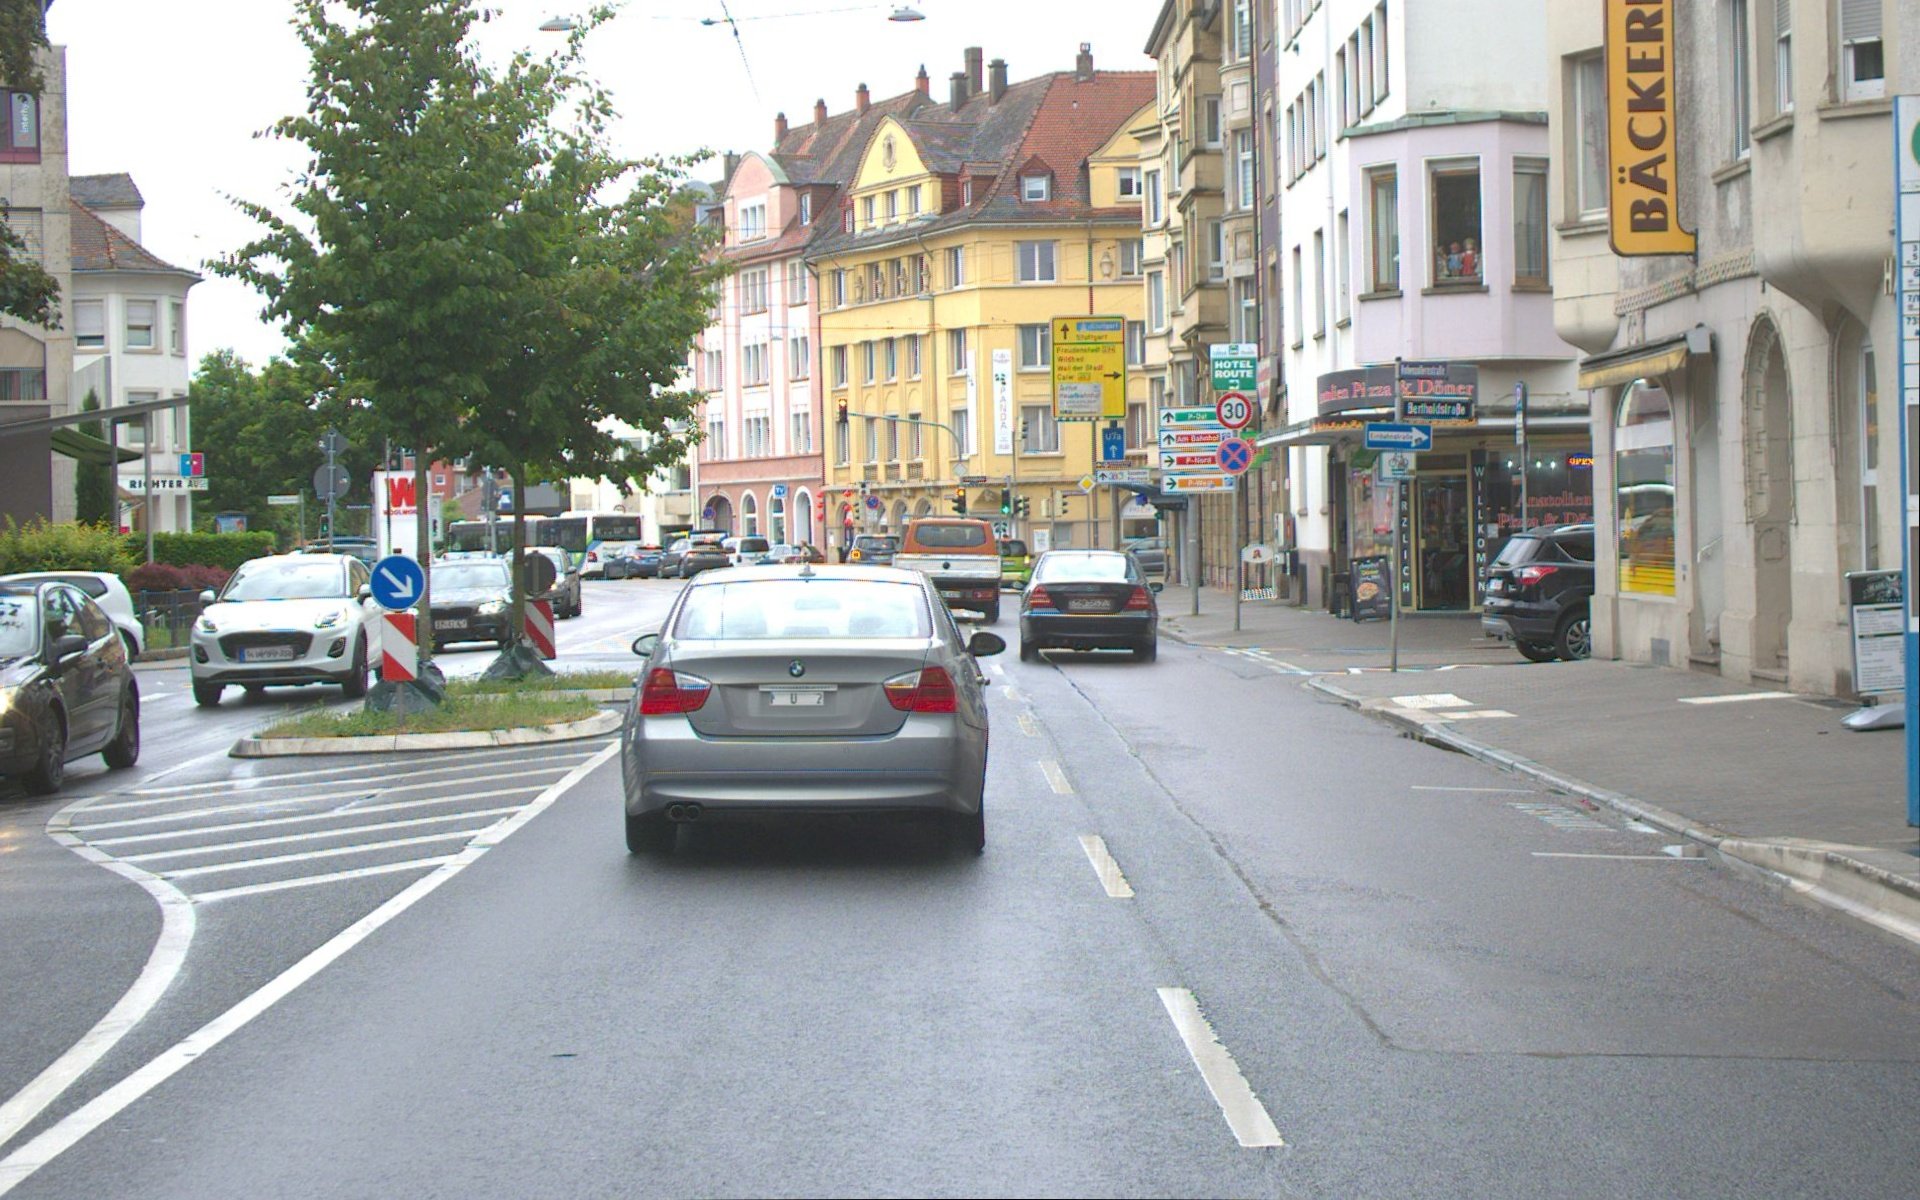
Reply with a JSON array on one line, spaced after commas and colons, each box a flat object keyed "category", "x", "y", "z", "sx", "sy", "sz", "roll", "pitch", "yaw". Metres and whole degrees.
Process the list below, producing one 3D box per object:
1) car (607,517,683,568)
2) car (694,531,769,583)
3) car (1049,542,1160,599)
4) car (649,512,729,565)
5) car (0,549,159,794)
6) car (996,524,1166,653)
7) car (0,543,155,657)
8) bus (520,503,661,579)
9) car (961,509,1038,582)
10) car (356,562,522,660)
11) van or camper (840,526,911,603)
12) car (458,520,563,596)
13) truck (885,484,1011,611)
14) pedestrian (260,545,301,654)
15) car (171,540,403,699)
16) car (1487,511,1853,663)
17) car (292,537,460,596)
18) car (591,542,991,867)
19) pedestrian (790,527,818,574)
[{"category": "car", "x": -12.885, "y": -2.333, "z": 140.307, "sx": 1.993, "sy": 2.007, "sz": 4.001, "roll": -1, "pitch": 1, "yaw": -22}, {"category": "car", "x": -9.889, "y": -1.864, "z": 148.563, "sx": 1.761, "sy": 2.173, "sz": 4.001, "roll": 1, "pitch": 1, "yaw": -26}, {"category": "car", "x": 5.503, "y": -1.120, "z": 130.566, "sx": 3.988, "sy": 2.007, "sz": 1.999, "roll": 2, "pitch": 1, "yaw": 8}, {"category": "car", "x": -10.623, "y": -2.418, "z": 134.639, "sx": 1.993, "sy": 2.007, "sz": 4.001, "roll": -1, "pitch": 1, "yaw": -22}, {"category": "car", "x": -7.067, "y": 0.444, "z": 24.323, "sx": 1.955, "sy": 1.551, "sz": 4.244, "roll": -1, "pitch": 1, "yaw": -3}, {"category": "car", "x": 1.488, "y": -0.155, "z": 43.613, "sx": 1.799, "sy": 1.558, "sz": 4.000, "roll": 0, "pitch": 0, "yaw": -3}, {"category": "car", "x": -13.315, "y": -0.015, "z": 48.169, "sx": 3.577, "sy": 1.564, "sz": 1.741, "roll": -1, "pitch": 1, "yaw": -33}, {"category": "bus", "x": -16.005, "y": -2.541, "z": 148.171, "sx": 2.908, "sy": 3.094, "sz": 9.145, "roll": -2, "pitch": 2, "yaw": -27}, {"category": "car", "x": 1.080, "y": -1.539, "z": 96.605, "sx": 1.993, "sy": 2.007, "sz": 4.000, "roll": -1, "pitch": 1, "yaw": -2}, {"category": "car", "x": -8.304, "y": 0.145, "z": 55.196, "sx": 2.013, "sy": 1.421, "sz": 4.500, "roll": 1, "pitch": 1, "yaw": -1}, {"category": "van or camper", "x": -2.472, "y": -1.041, "z": 99.425, "sx": 1.854, "sy": 2.139, "sz": 4.143, "roll": 1, "pitch": 1, "yaw": -4}, {"category": "car", "x": -10.350, "y": -0.993, "z": 79.007, "sx": 1.947, "sy": 1.653, "sz": 4.058, "roll": 1, "pitch": 1, "yaw": -13}, {"category": "truck", "x": -0.266, "y": -0.977, "z": 63.109, "sx": 2.224, "sy": 2.242, "sz": 5.063, "roll": 0, "pitch": 1, "yaw": -1}, {"category": "pedestrian", "x": -11.103, "y": -0.008, "z": 56.191, "sx": 0.574, "sy": 1.756, "sz": 0.581, "roll": -1, "pitch": 1, "yaw": -7}, {"category": "car", "x": -7.300, "y": 0.164, "z": 37.671, "sx": 1.819, "sy": 1.563, "sz": 4.090, "roll": -2, "pitch": 1, "yaw": -2}, {"category": "car", "x": 8.473, "y": -0.173, "z": 41.309, "sx": 4.139, "sy": 1.766, "sz": 1.873, "roll": 0, "pitch": 1, "yaw": 6}, {"category": "car", "x": -16.161, "y": -0.937, "z": 95.267, "sx": 4.444, "sy": 1.521, "sz": 1.886, "roll": 1, "pitch": 1, "yaw": -6}, {"category": "car", "x": -0.837, "y": 0.439, "z": 17.765, "sx": 1.799, "sy": 1.459, "sz": 4.371, "roll": 0, "pitch": 1, "yaw": -2}, {"category": "pedestrian", "x": -5.095, "y": -1.601, "z": 112.239, "sx": 0.760, "sy": 1.524, "sz": 0.508, "roll": 1, "pitch": 0, "yaw": -21}]
